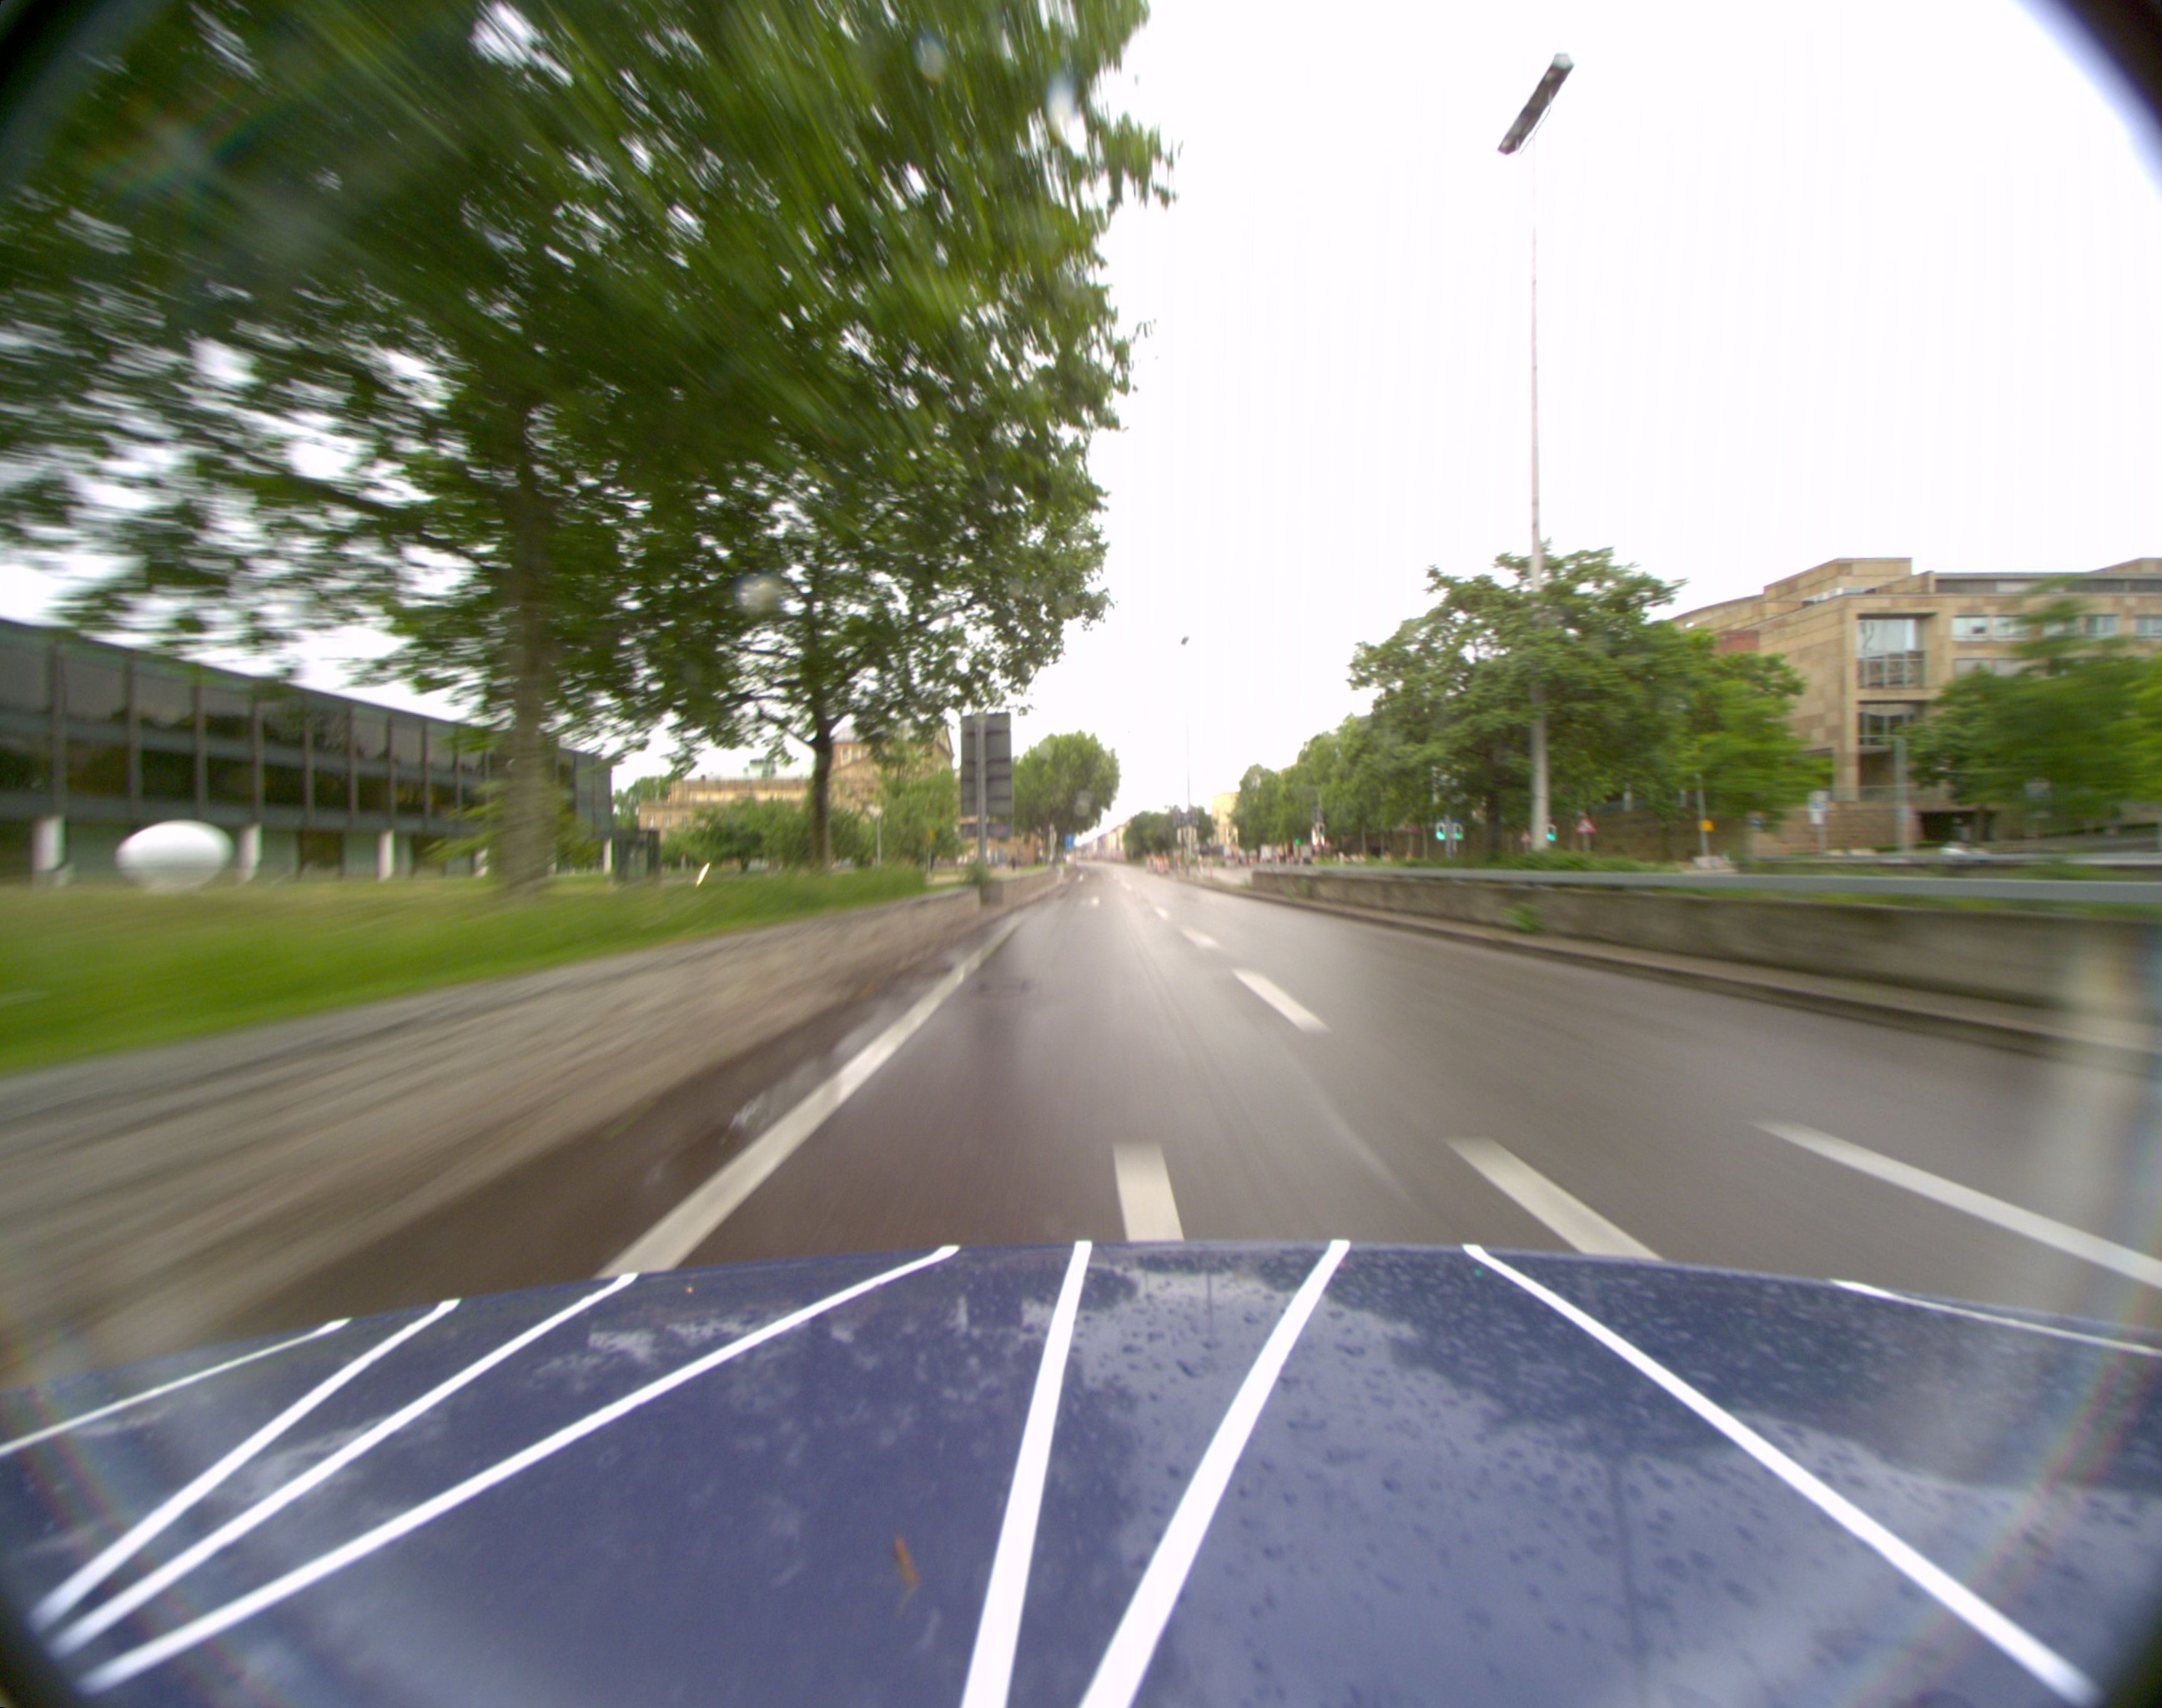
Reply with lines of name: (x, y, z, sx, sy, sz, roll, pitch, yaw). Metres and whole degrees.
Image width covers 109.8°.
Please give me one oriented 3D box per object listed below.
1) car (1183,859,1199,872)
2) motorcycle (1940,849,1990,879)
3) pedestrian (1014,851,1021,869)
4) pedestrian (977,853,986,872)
car: (19.694, 2.039, 135.785, 1.999, 2.285, 4.228, -2, 0, -2)
motorcycle: (37.155, 0.400, 31.930, 1.817, 1.175, 0.606, -2, 0, -14)
pedestrian: (-6.316, 0.576, 75.251, 0.594, 1.763, 0.587, -2, 0, 2)
pedestrian: (-8.468, 0.711, 64.768, 0.671, 1.655, 0.588, 0, 0, -16)
